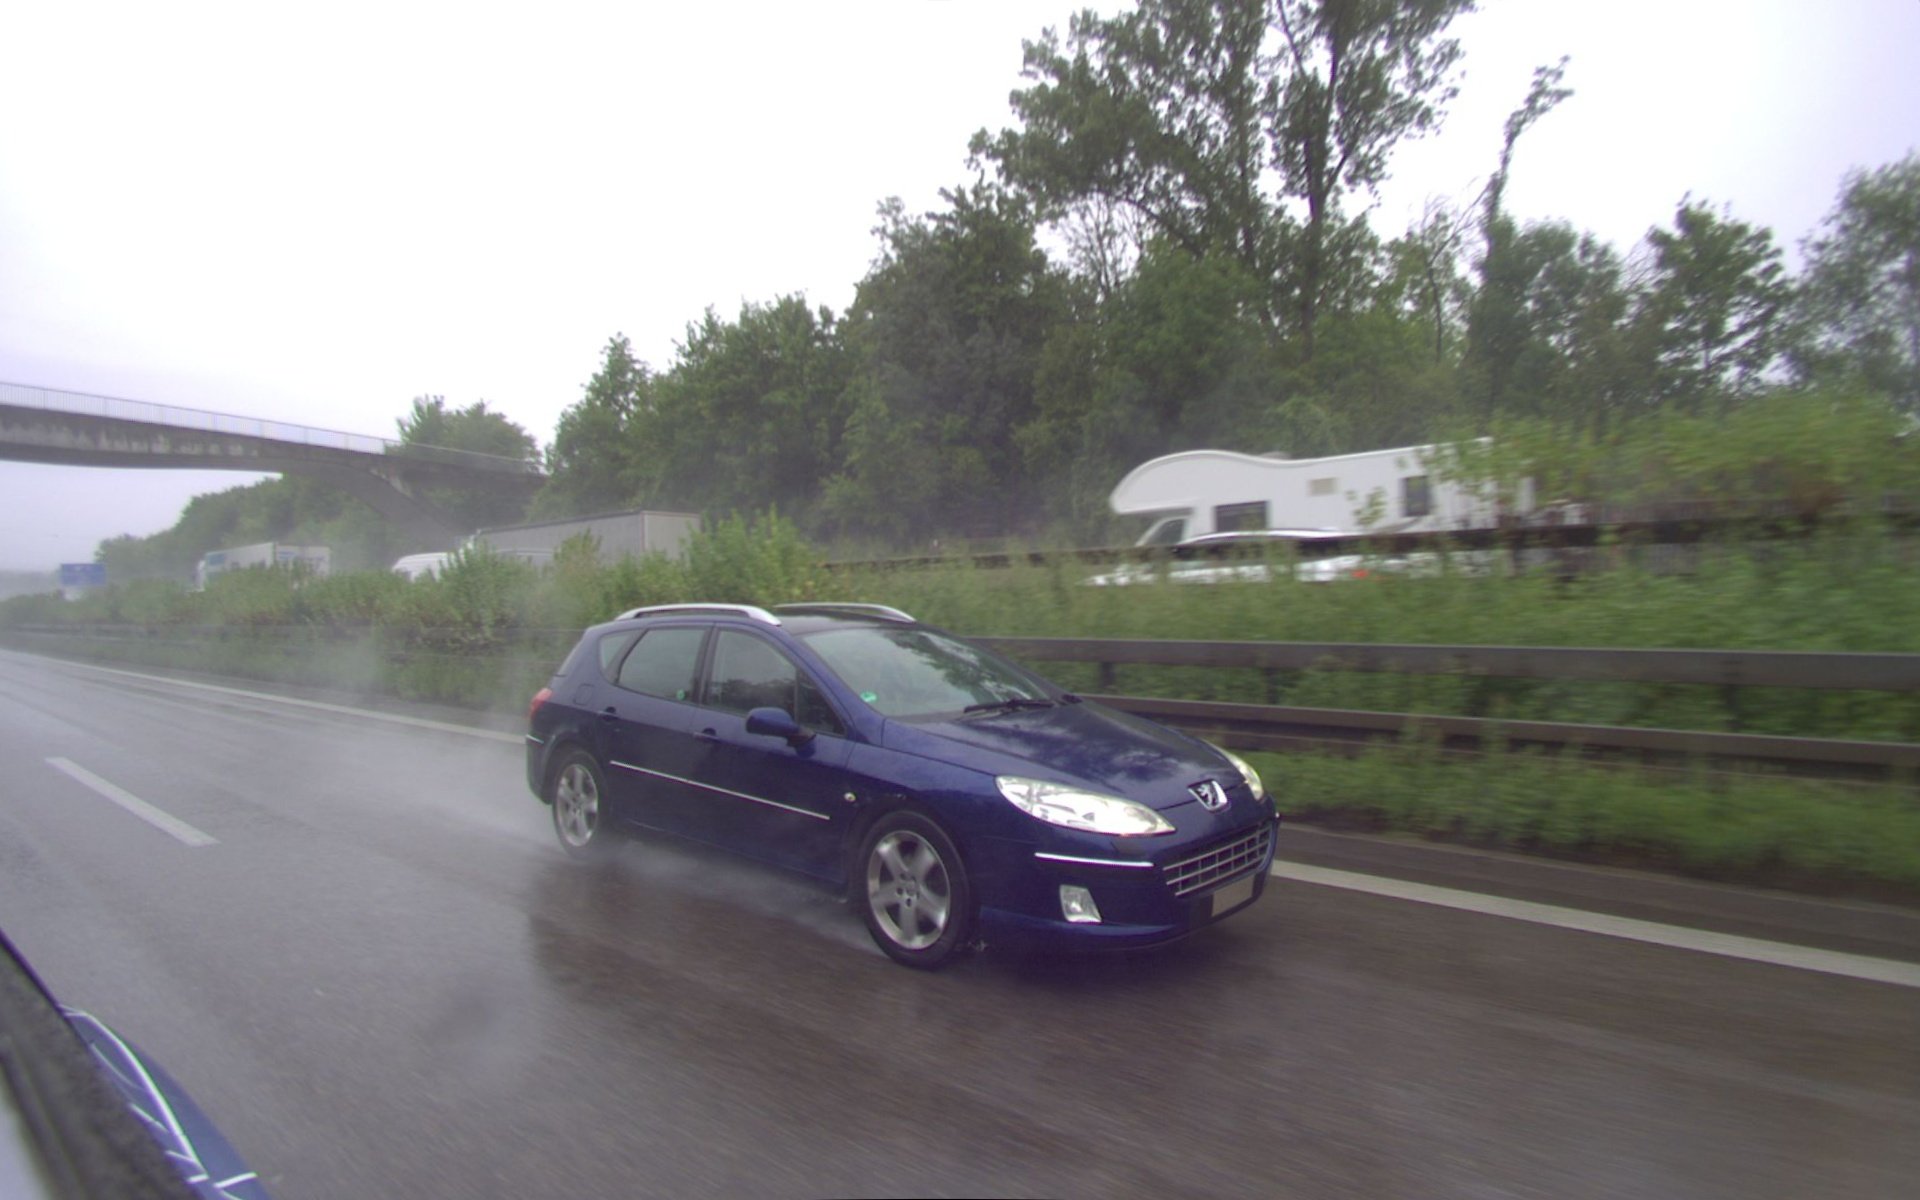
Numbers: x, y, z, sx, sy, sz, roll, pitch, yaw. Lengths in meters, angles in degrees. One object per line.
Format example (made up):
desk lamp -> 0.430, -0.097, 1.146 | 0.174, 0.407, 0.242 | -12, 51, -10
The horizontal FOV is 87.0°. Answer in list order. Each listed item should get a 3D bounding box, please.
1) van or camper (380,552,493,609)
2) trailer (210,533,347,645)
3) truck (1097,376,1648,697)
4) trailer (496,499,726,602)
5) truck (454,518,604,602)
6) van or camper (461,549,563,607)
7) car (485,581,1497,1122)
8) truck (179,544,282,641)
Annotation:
van or camper -> -20.690, -0.697, 39.855 | 5.893, 2.029, 1.964 | -1, -1, 42
trailer -> -37.087, -0.485, 54.820 | 11.542, 5.499, 3.392 | -1, -1, 42
truck -> 6.315, -0.751, 16.439 | 7.703, 4.048, 3.003 | -1, -1, 41
trailer -> -14.117, -1.728, 40.130 | 11.542, 3.410, 3.392 | -1, -1, 42
truck -> -19.004, -1.612, 44.456 | 7.171, 3.294, 3.301 | -1, -1, 41
van or camper -> -15.739, -0.709, 35.469 | 4.502, 1.864, 1.483 | -1, -1, 41
car -> -0.298, 0.701, 5.268 | 5.155, 1.496, 2.033 | -1, 0, 41
truck -> -43.931, -0.369, 60.871 | 7.711, 5.500, 3.397 | -1, -1, 41
